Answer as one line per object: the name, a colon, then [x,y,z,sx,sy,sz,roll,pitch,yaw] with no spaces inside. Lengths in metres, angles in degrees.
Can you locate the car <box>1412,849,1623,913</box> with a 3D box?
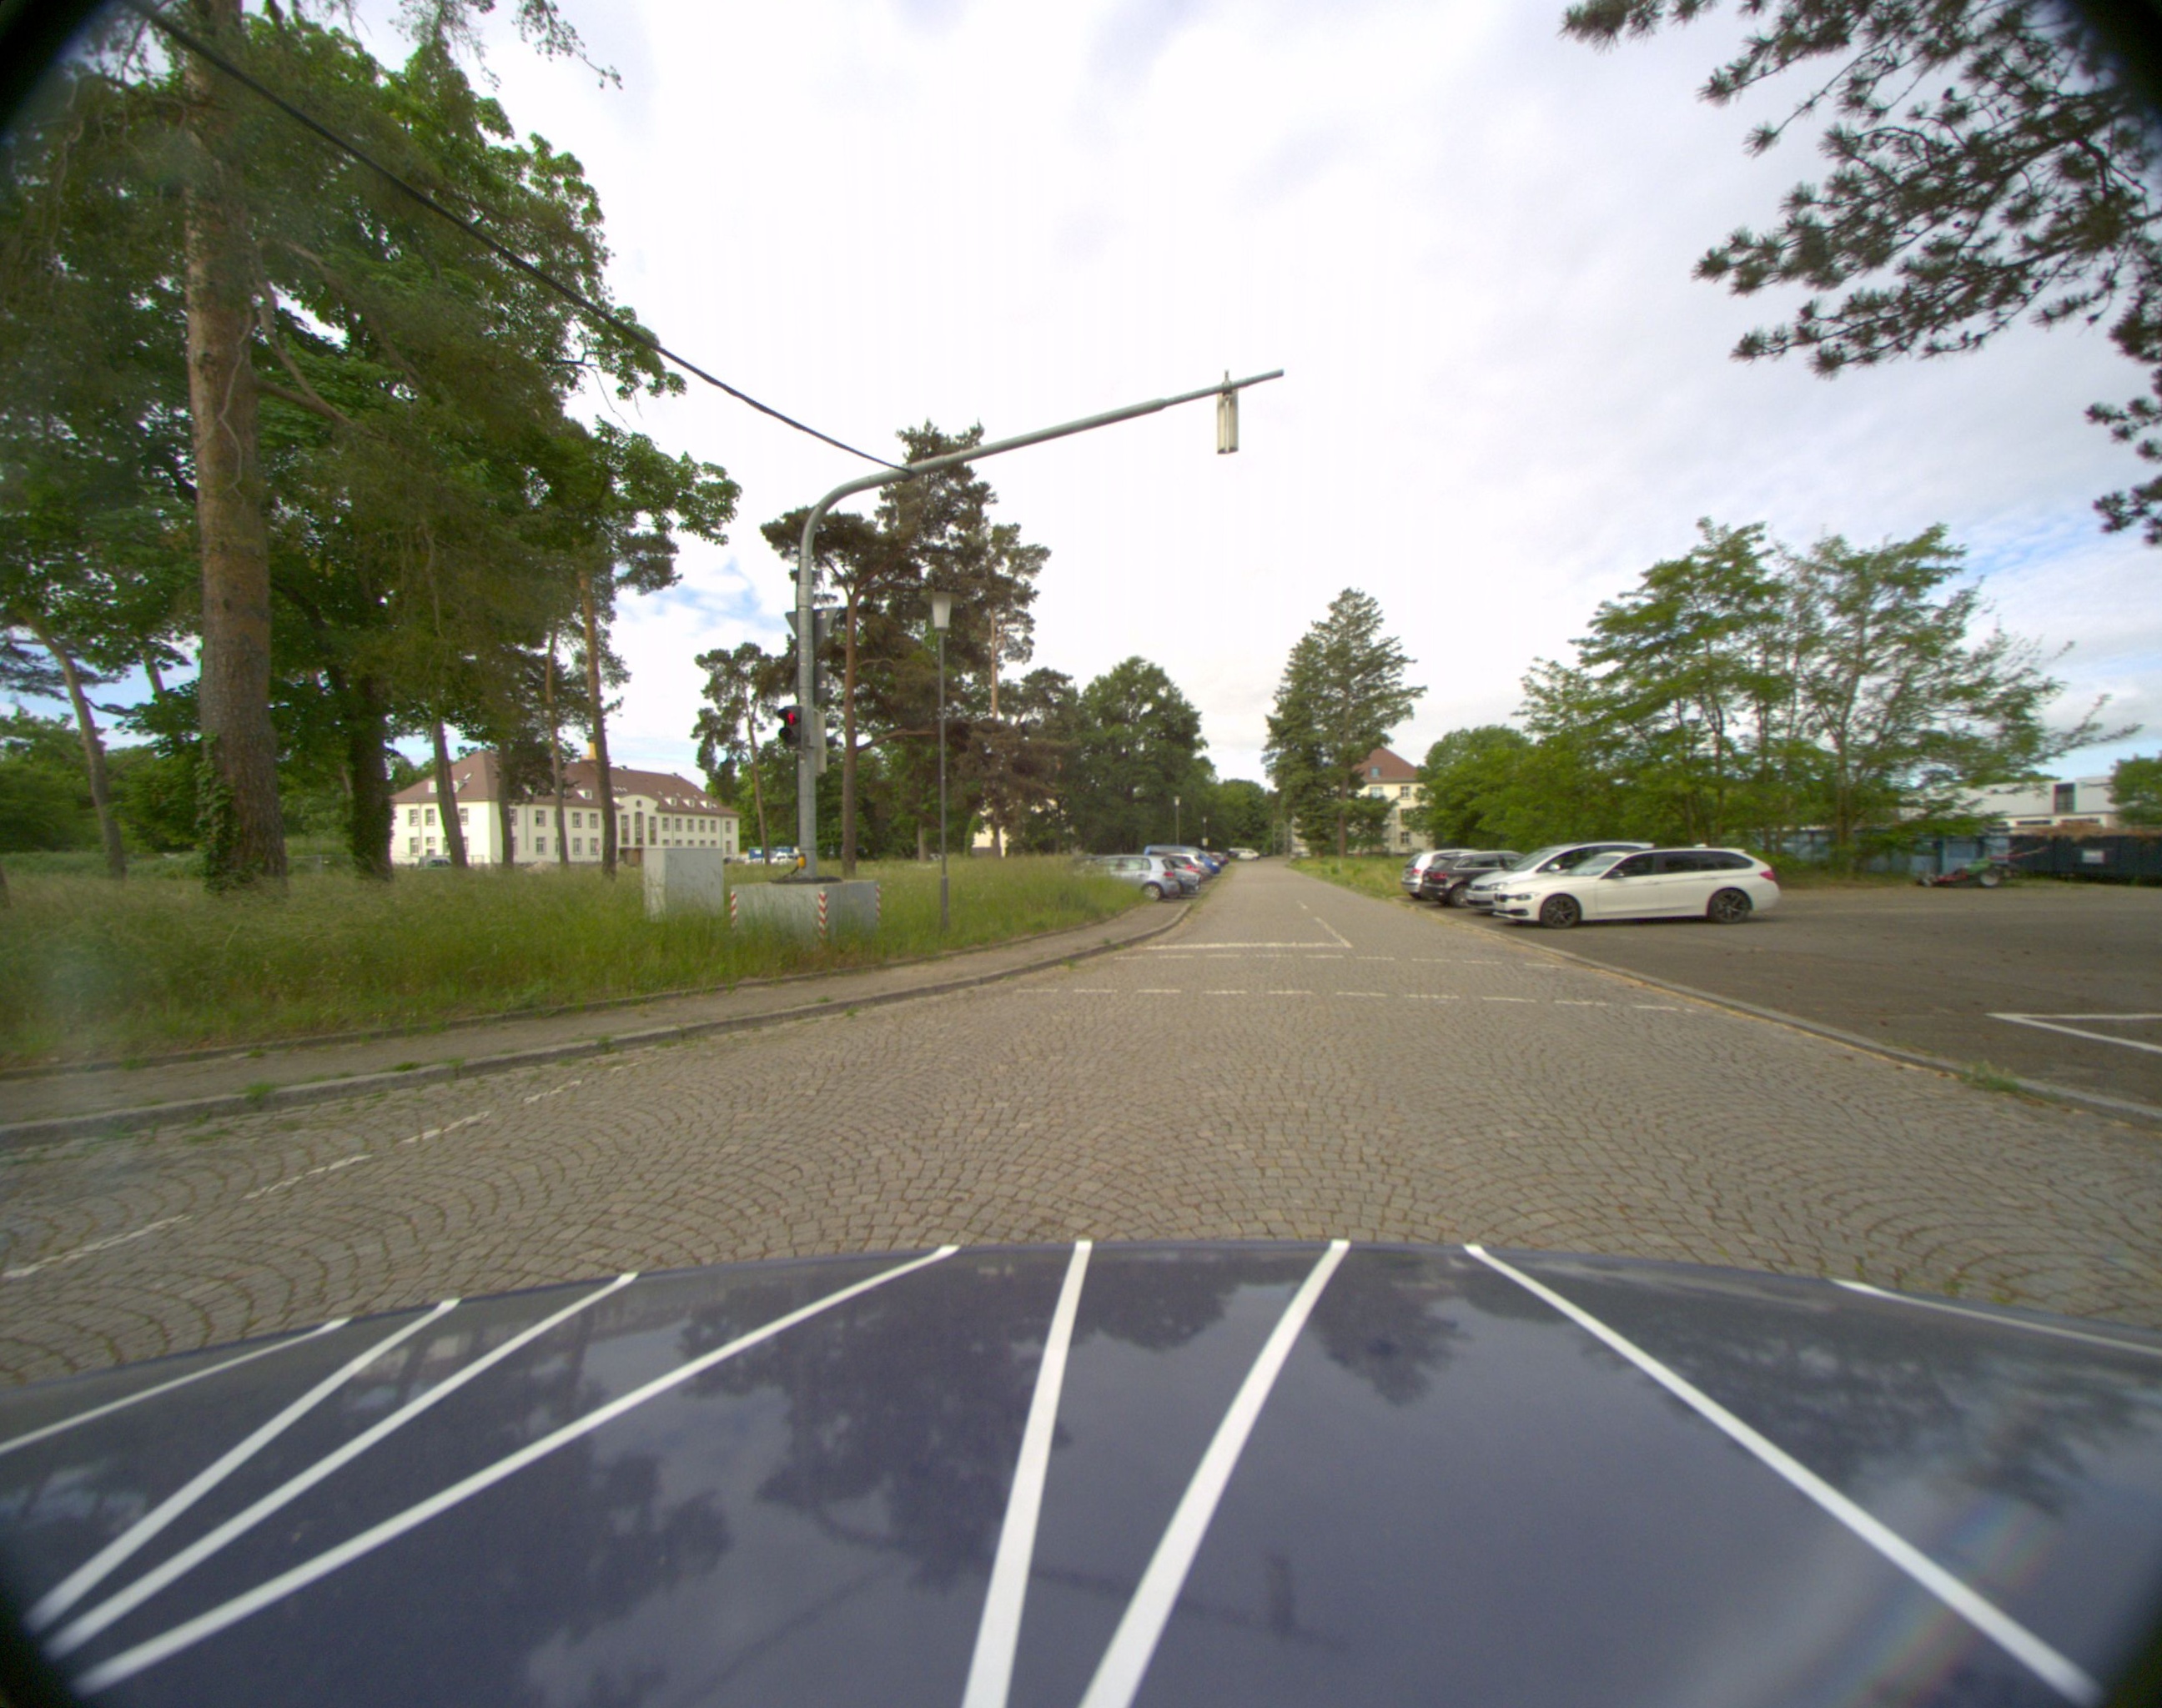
car: [11.279,0.690,19.933,4.442,1.416,1.723,-3,0,10]

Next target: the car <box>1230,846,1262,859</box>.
car: [27.667,-0.270,127.499,5.144,2.137,1.776,1,1,9]

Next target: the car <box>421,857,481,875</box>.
car: [-76.468,1.463,92.213,5.788,1.949,2.196,-2,1,8]

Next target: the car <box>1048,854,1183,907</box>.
car: [1.124,0.794,23.888,4.007,1.421,1.699,2,1,11]

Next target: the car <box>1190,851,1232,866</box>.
car: [13.795,0.445,80.670,4.087,1.524,1.729,1,1,20]

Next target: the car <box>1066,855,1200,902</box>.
car: [1.853,0.808,26.422,4.435,1.375,1.665,2,1,11]

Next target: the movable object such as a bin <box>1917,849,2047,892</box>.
movable object such as a bin: [24.838,0.434,20.987,2.265,1.119,0.859,0,1,11]

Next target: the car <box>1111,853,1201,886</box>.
car: [3.598,0.719,36.364,4.045,1.508,1.602,1,1,15]

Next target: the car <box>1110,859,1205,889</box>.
car: [3.410,0.875,33.675,4.046,1.233,1.551,1,1,13]

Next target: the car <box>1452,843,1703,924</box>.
car: [11.089,0.638,17.268,4.371,1.588,1.873,-2,0,7]

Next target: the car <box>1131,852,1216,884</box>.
car: [4.765,0.692,39.004,4.092,1.508,1.702,1,1,15]

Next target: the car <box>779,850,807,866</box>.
car: [-43.911,0.575,115.899,1.860,2.351,4.451,-1,1,13]

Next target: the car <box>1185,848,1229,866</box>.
car: [12.593,0.293,76.125,4.077,1.685,1.729,1,1,20]

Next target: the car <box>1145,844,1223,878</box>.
car: [6.432,0.409,47.179,4.597,1.995,1.914,1,1,14]

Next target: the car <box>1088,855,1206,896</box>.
car: [2.546,0.791,29.083,4.242,1.465,1.719,1,1,15]

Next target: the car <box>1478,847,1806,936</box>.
car: [10.609,0.709,14.758,4.747,1.479,1.868,-2,-1,10]

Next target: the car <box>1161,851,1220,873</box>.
car: [8.085,0.551,55.940,4.079,1.584,1.656,1,1,15]

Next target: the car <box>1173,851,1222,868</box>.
car: [10.129,0.485,66.062,4.079,1.436,1.728,1,1,14]

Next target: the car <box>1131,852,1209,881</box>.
car: [4.920,0.674,41.964,4.045,1.508,1.602,1,1,15]

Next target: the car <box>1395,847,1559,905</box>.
car: [11.660,0.637,22.590,3.957,1.462,1.586,-3,0,9]

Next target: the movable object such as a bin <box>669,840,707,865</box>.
movable object such as a bin: [-63.255,-0.251,122.354,5.453,3.748,2.055,-1,1,16]
